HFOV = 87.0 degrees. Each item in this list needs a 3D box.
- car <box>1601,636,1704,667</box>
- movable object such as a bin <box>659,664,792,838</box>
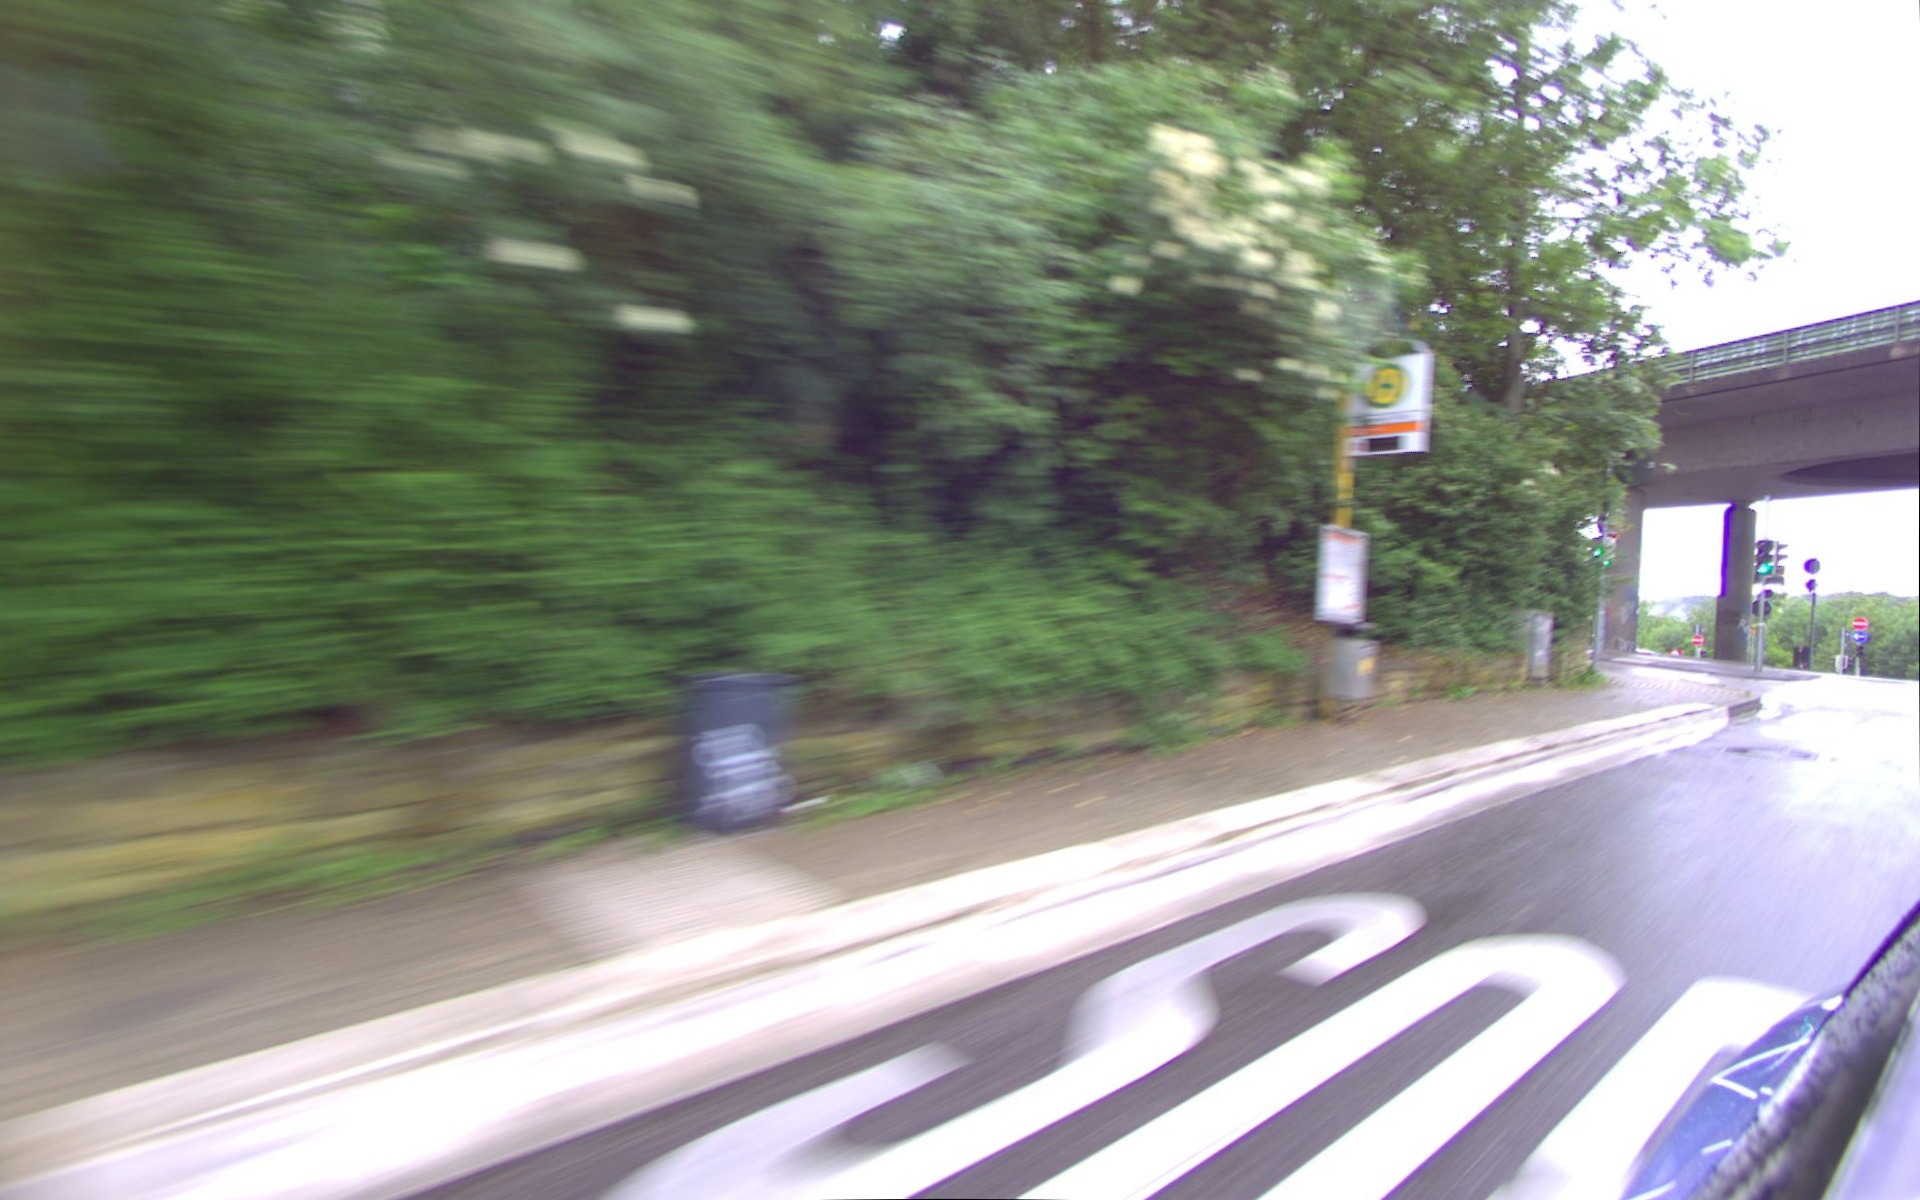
[{"bbox_3d":[35.179,2.608,51.515,1.732,1.327,4.005,0,0,-29],"label":"car"},{"bbox_3d":[-1.226,0.759,5.286,0.494,0.798,0.506,0,0,-44],"label":"movable object such as a bin"}]
